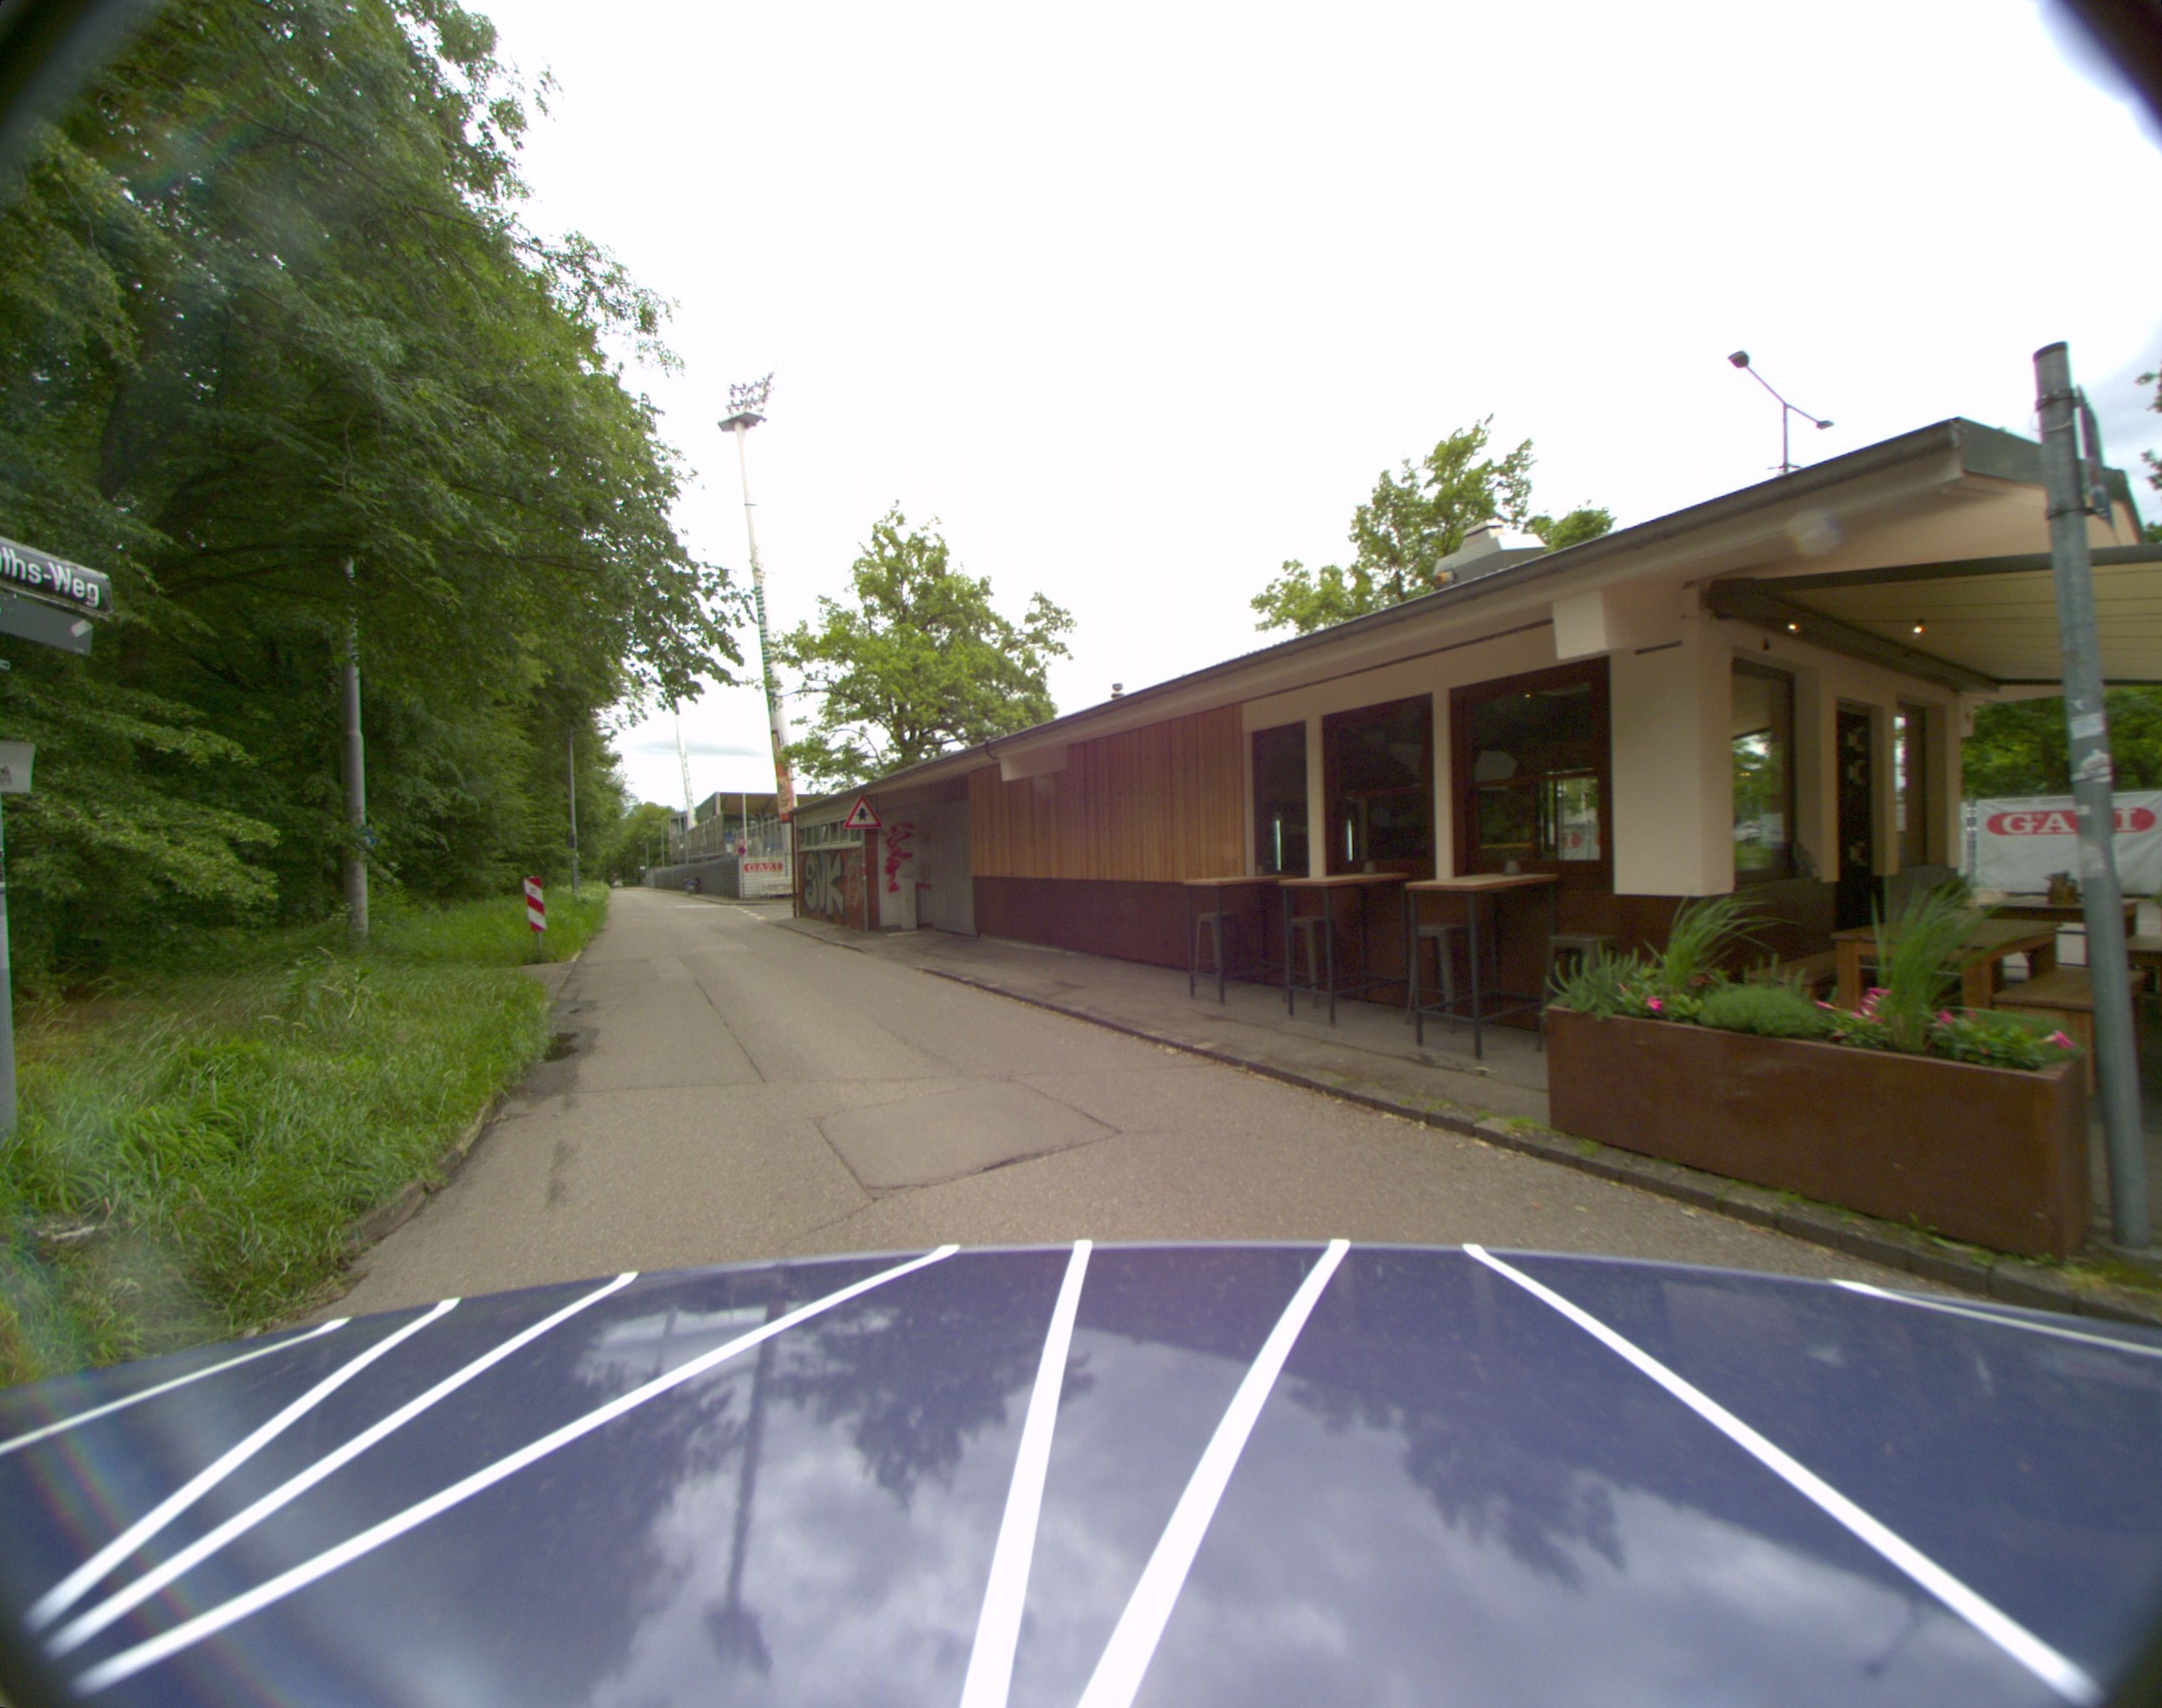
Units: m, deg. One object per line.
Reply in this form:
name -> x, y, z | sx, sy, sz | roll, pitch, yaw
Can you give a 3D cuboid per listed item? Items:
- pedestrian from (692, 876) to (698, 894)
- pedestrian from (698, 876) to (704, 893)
pedestrian -> -30.645, 2.451, 60.290 | 0.373, 1.378, 0.376 | -2, 0, -28
pedestrian -> -30.321, 2.434, 60.656 | 0.377, 1.378, 0.405 | -2, 0, -28
